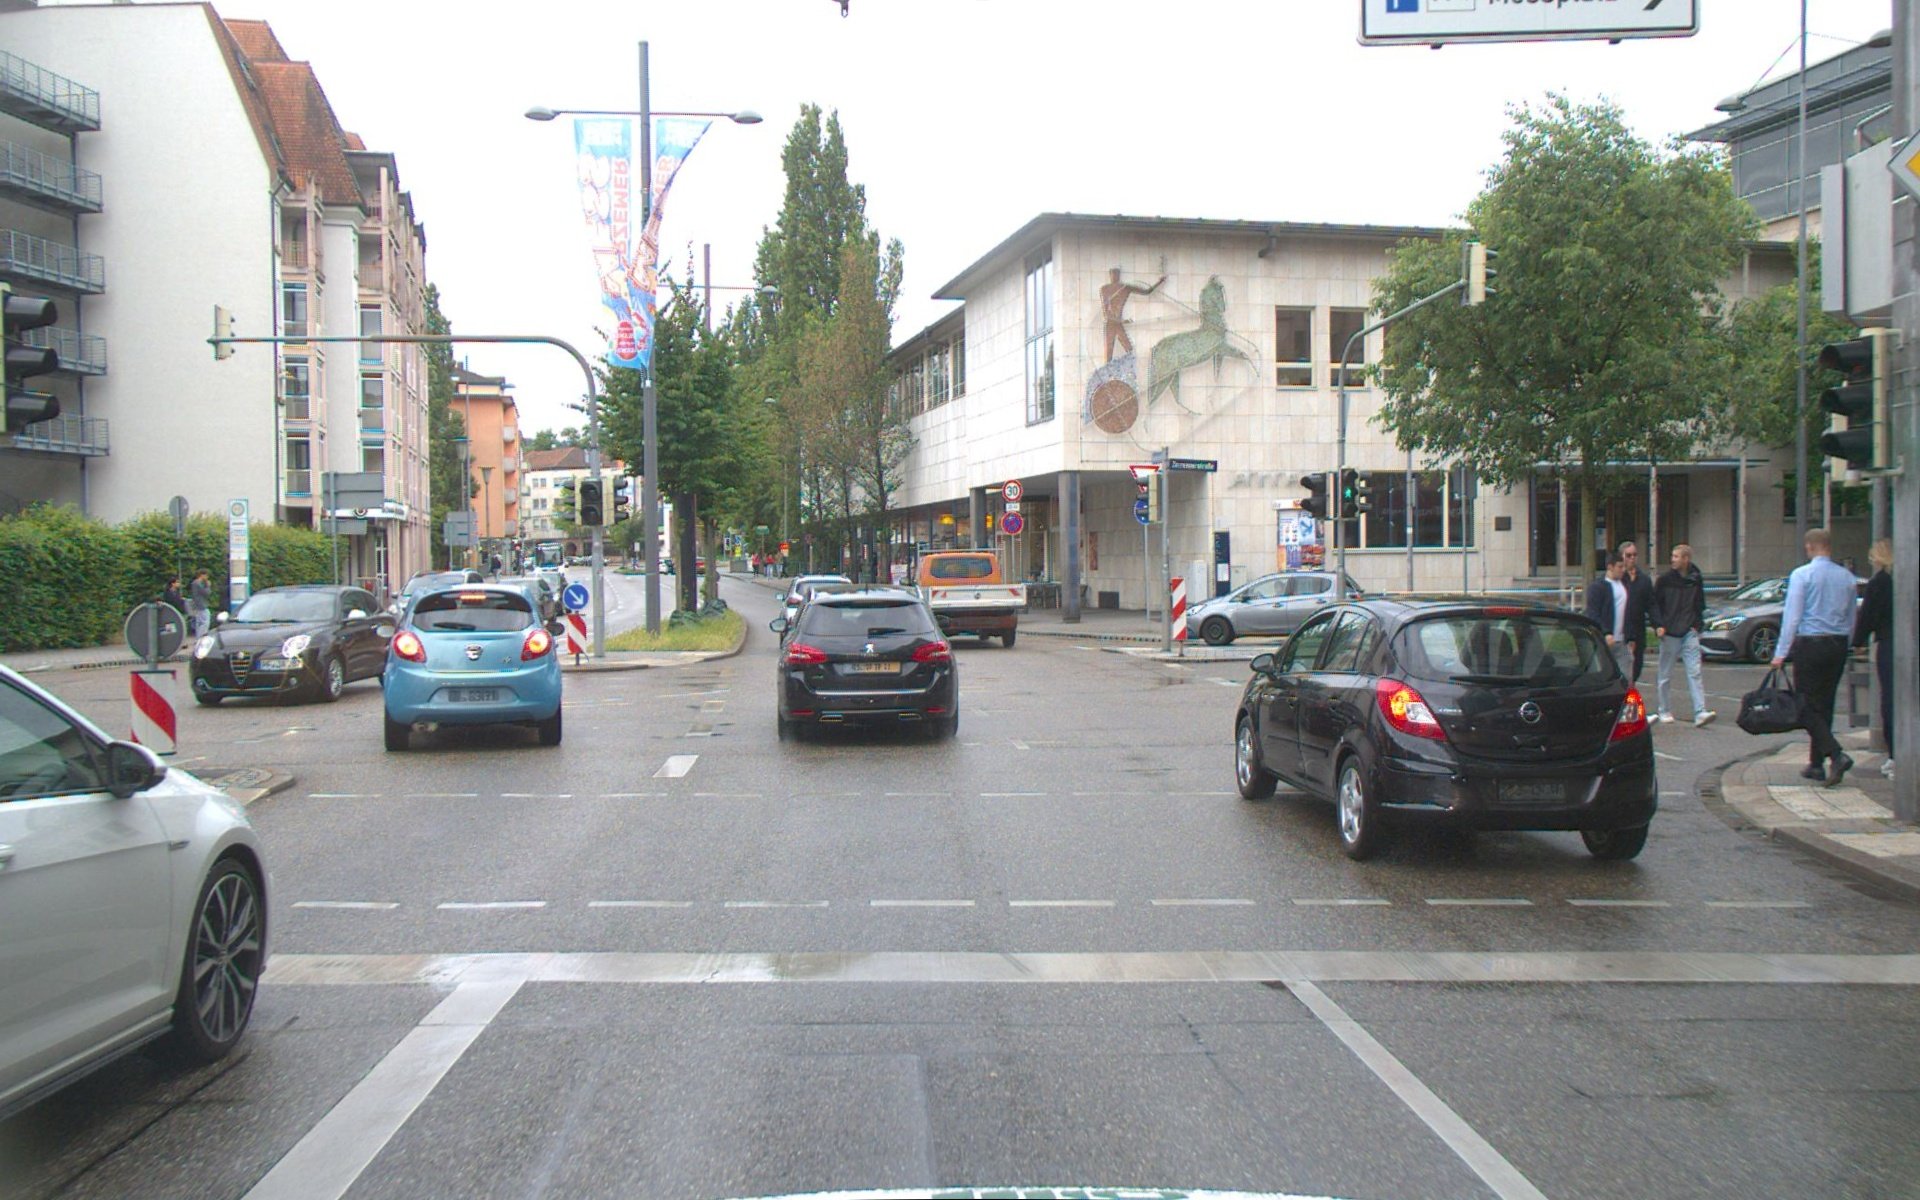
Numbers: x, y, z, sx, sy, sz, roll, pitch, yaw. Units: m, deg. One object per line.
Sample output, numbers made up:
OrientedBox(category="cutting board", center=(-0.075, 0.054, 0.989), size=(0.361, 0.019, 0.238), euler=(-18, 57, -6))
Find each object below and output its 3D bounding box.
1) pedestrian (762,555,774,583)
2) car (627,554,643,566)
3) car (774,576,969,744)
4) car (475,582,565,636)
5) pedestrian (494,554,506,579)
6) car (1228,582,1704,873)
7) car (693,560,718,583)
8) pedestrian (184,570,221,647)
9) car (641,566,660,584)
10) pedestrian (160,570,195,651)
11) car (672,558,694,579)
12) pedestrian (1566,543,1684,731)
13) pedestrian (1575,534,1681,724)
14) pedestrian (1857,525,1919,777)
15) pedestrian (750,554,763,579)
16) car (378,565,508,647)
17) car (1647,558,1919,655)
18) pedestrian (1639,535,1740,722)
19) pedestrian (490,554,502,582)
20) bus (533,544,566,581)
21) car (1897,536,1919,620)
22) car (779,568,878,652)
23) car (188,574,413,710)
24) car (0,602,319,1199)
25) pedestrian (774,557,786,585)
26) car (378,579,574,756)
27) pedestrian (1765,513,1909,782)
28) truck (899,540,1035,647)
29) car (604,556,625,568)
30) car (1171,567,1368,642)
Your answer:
OrientedBox(category="pedestrian", center=(-12.574, -2.004, 108.181), size=(0.642, 1.797, 0.920), euler=(-3, 2, -13))
OrientedBox(category="car", center=(-45.894, -5.669, 233.415), size=(1.961, 1.713, 3.983), euler=(-1, 1, -16))
OrientedBox(category="car", center=(-0.855, 0.537, 16.981), size=(1.758, 1.509, 3.999), euler=(0, 0, -2))
OrientedBox(category="car", center=(-13.118, 0.241, 49.542), size=(1.723, 1.445, 4.094), euler=(-3, 0, -3))
OrientedBox(category="pedestrian", center=(-33.152, -2.412, 119.241), size=(0.783, 1.825, 0.810), euler=(0, 1, -11))
OrientedBox(category="car", center=(2.959, 0.643, 10.526), size=(1.674, 1.482, 3.740), euler=(0, 1, -4))
OrientedBox(category="car", center=(-19.404, -2.154, 125.995), size=(1.616, 1.592, 3.587), euler=(2, -2, -13))
OrientedBox(category="pedestrian", center=(-17.890, 0.199, 39.059), size=(0.629, 1.795, 0.592), euler=(-1, -2, -5))
OrientedBox(category="car", center=(-29.582, -2.384, 158.102), size=(1.616, 1.592, 3.587), euler=(2, -2, -13))
OrientedBox(category="pedestrian", center=(-17.643, 0.242, 37.281), size=(0.516, 1.795, 0.630), euler=(-1, -2, -5))
OrientedBox(category="car", center=(-23.718, -2.680, 141.656), size=(1.616, 1.592, 3.587), euler=(2, -2, -13))
OrientedBox(category="pedestrian", center=(6.616, 0.359, 16.494), size=(0.734, 1.811, 0.887), euler=(-1, -1, -5))
OrientedBox(category="pedestrian", center=(7.018, 0.301, 17.398), size=(0.743, 1.935, 0.789), euler=(-1, -1, -1))
OrientedBox(category="pedestrian", center=(7.089, 0.366, 12.179), size=(0.609, 1.805, 0.677), euler=(-1, -1, 5))
OrientedBox(category="pedestrian", center=(-14.028, -2.300, 114.054), size=(0.705, 1.648, 0.767), euler=(-3, 2, -14))
OrientedBox(category="car", center=(-12.082, 0.122, 38.905), size=(1.790, 1.766, 4.309), euler=(-1, 0, -2))
OrientedBox(category="car", center=(13.735, 0.071, 27.313), size=(4.187, 1.444, 1.781), euler=(-1, 1, -14))
OrientedBox(category="pedestrian", center=(7.727, 0.294, 17.534), size=(0.717, 1.929, 0.676), euler=(-1, -1, -2))
OrientedBox(category="pedestrian", center=(-30.531, -2.078, 108.785), size=(0.685, 1.825, 0.956), euler=(0, 1, -10))
OrientedBox(category="bus", center=(-38.195, -3.555, 153.732), size=(2.699, 3.128, 12.191), euler=(-1, 3, -15))
OrientedBox(category="car", center=(22.726, -0.529, 35.379), size=(4.511, 1.790, 1.852), euler=(-1, 0, -10))
OrientedBox(category="car", center=(-2.651, 0.145, 32.697), size=(1.761, 1.509, 3.994), euler=(-1, 1, -7))
OrientedBox(category="car", center=(-8.509, 0.473, 21.668), size=(1.590, 1.582, 3.658), euler=(-1, 1, -3))
OrientedBox(category="car", center=(-3.080, 0.719, 3.857), size=(1.729, 1.434, 3.998), euler=(0, 0, -2))
OrientedBox(category="pedestrian", center=(-11.792, -1.888, 108.293), size=(0.686, 1.833, 0.604), euler=(-3, 2, -14))
OrientedBox(category="car", center=(-4.889, 0.565, 16.513), size=(1.670, 1.500, 3.671), euler=(-1, 1, -19))
OrientedBox(category="pedestrian", center=(6.342, 0.341, 11.997), size=(0.609, 1.879, 0.848), euler=(-1, -1, 5))
OrientedBox(category="truck", center=(0.060, -0.147, 34.933), size=(2.083, 2.060, 4.705), euler=(-1, 1, -9))
OrientedBox(category="car", center=(-50.908, -5.618, 243.471), size=(1.633, 1.592, 3.551), euler=(2, -2, -38))
OrientedBox(category="car", center=(6.411, 0.080, 34.374), size=(3.902, 1.502, 2.002), euler=(0, 0, 11))
